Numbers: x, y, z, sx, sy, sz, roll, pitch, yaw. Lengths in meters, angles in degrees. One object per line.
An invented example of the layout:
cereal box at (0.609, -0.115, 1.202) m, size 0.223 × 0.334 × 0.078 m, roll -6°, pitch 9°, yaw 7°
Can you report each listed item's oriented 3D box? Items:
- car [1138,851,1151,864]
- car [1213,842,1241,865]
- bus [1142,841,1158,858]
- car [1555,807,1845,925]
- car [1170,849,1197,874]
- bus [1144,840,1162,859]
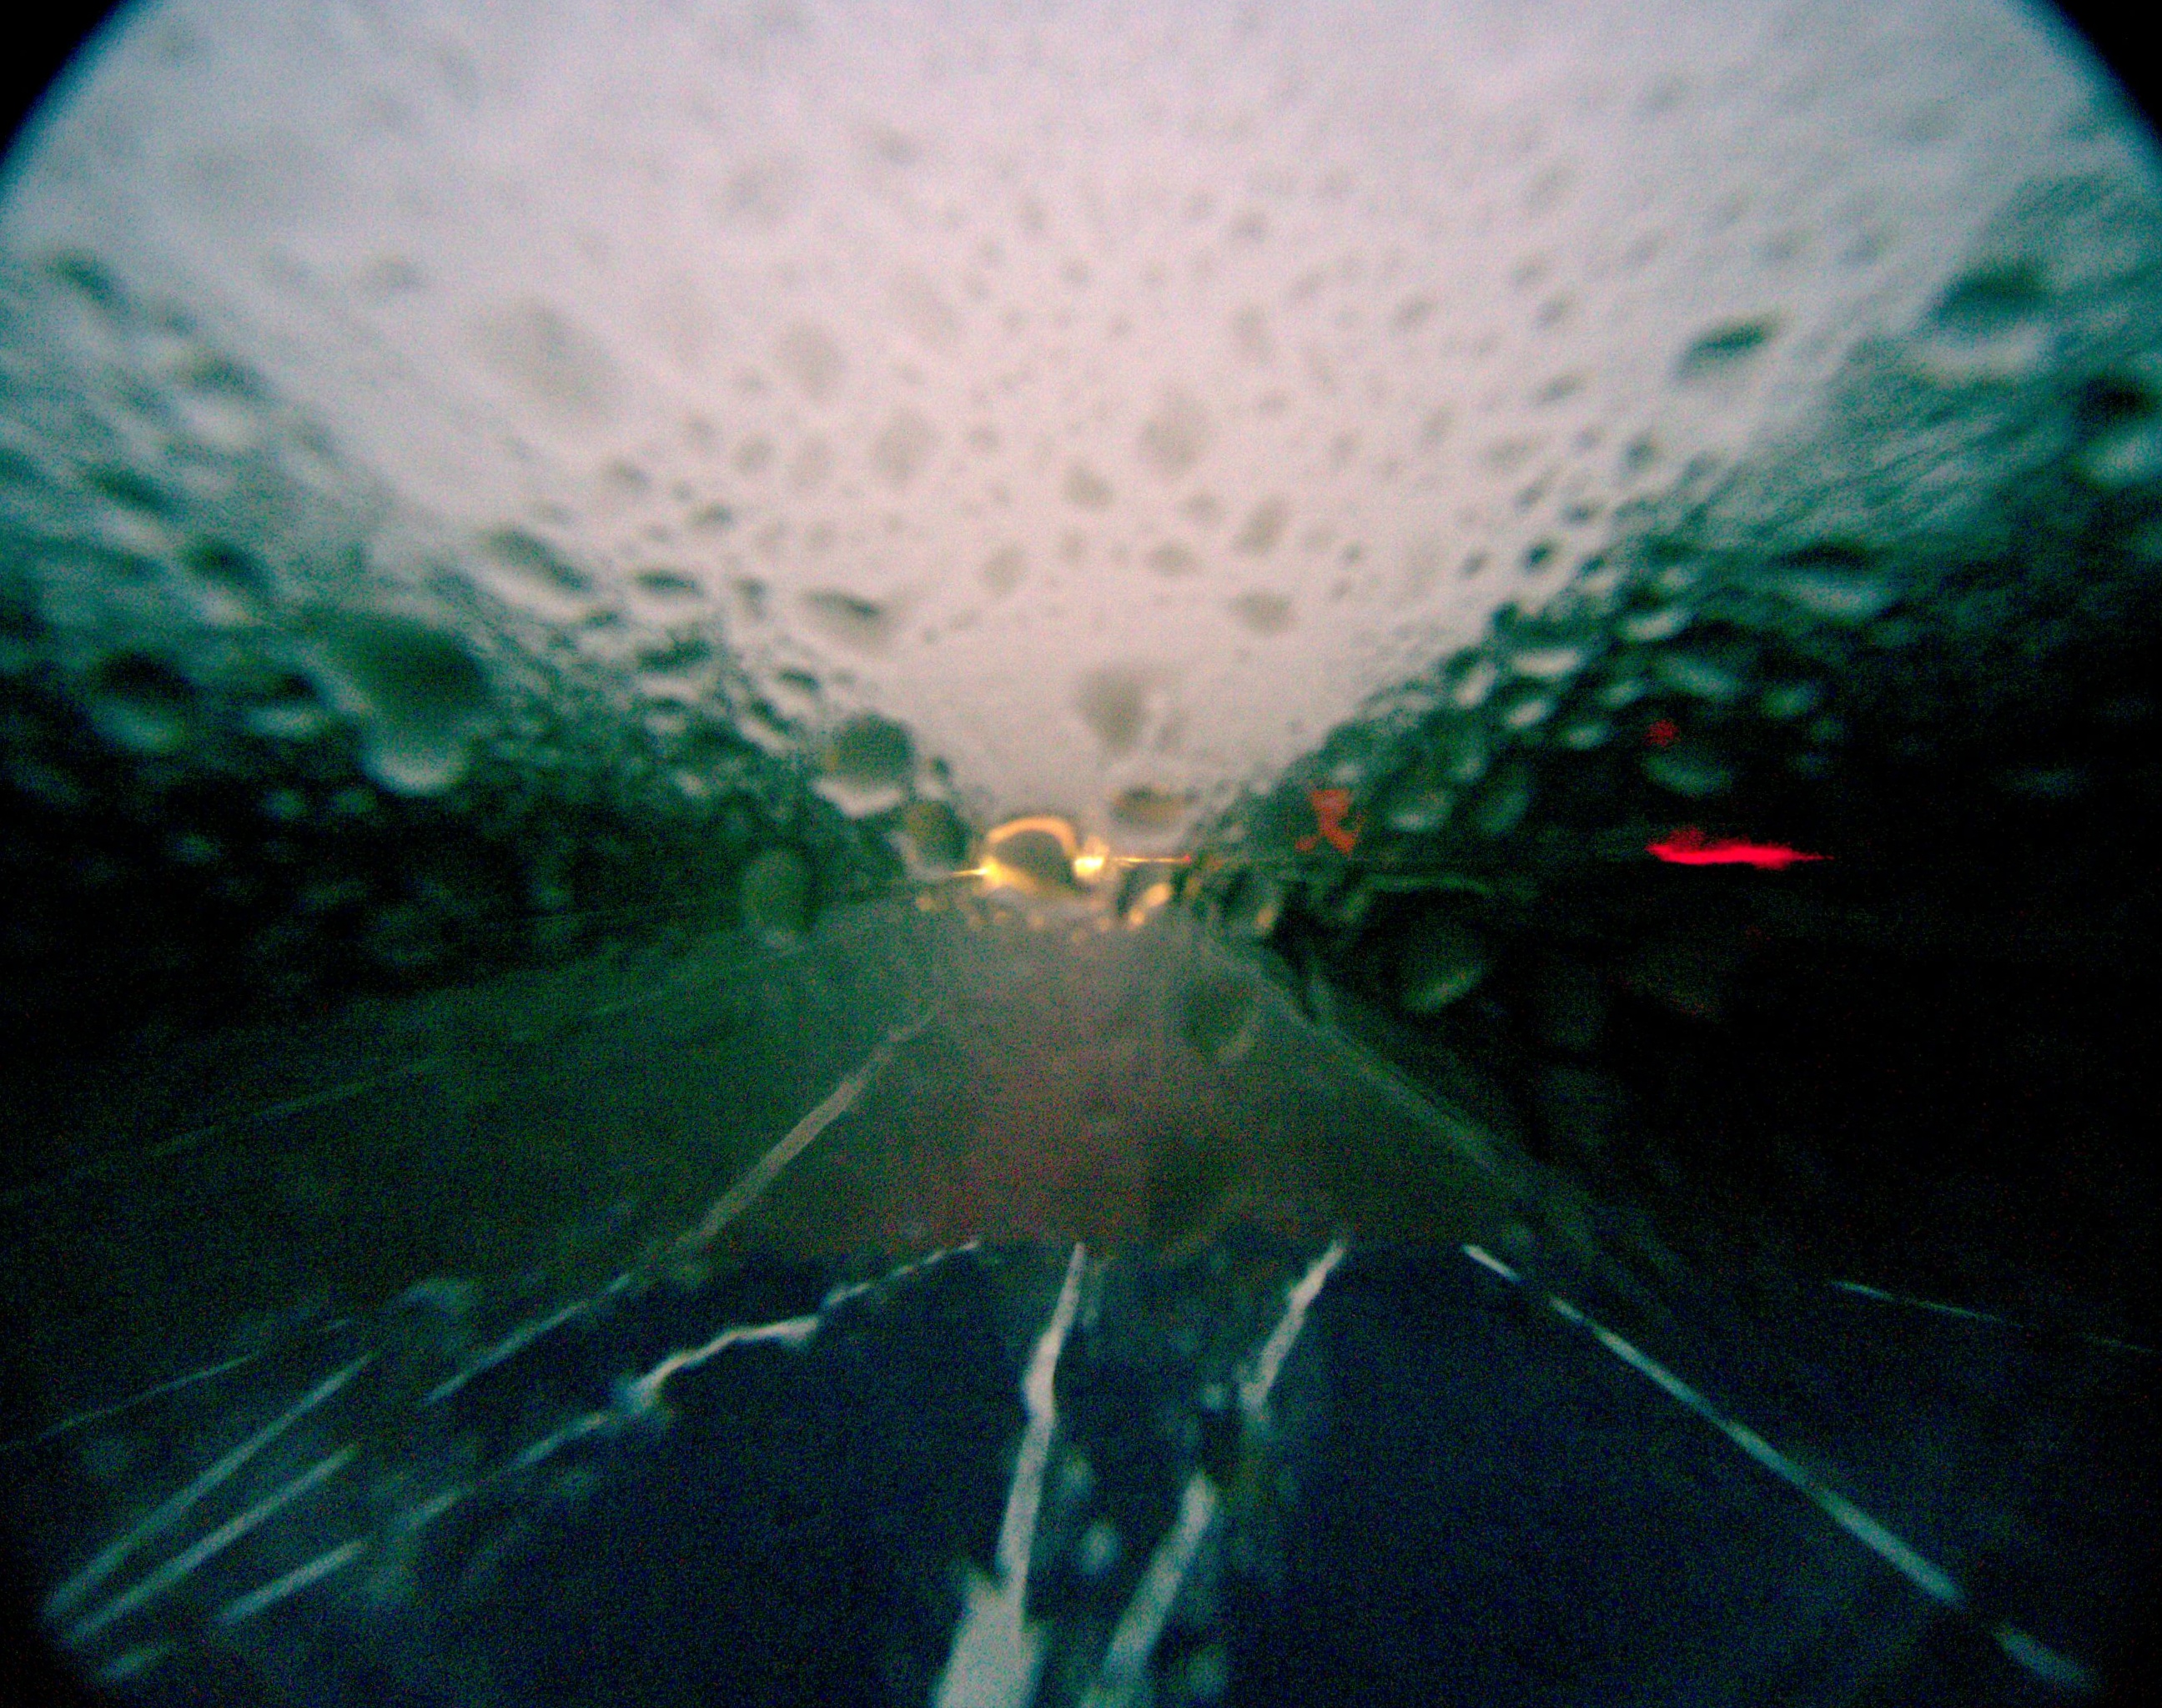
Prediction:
car at (10.584, 0.604, 127.025) m, size 1.998 × 2.002 × 4.729 m, roll -2°, pitch 0°, yaw 2°
car at (12.600, -0.024, 65.979) m, size 1.635 × 1.855 × 3.896 m, roll -2°, pitch 0°, yaw 0°
bus at (14.714, -0.933, 163.382) m, size 2.733 × 3.534 × 9.088 m, roll -2°, pitch 0°, yaw 1°
car at (11.893, 0.191, 15.157) m, size 1.998 × 1.938 × 4.711 m, roll -2°, pitch 0°, yaw 1°
car at (9.044, 0.630, 67.361) m, size 1.726 × 2.075 × 4.519 m, roll -2°, pitch 0°, yaw 1°
bus at (14.523, -0.888, 154.165) m, size 2.745 × 3.534 × 9.155 m, roll -2°, pitch 0°, yaw 1°
